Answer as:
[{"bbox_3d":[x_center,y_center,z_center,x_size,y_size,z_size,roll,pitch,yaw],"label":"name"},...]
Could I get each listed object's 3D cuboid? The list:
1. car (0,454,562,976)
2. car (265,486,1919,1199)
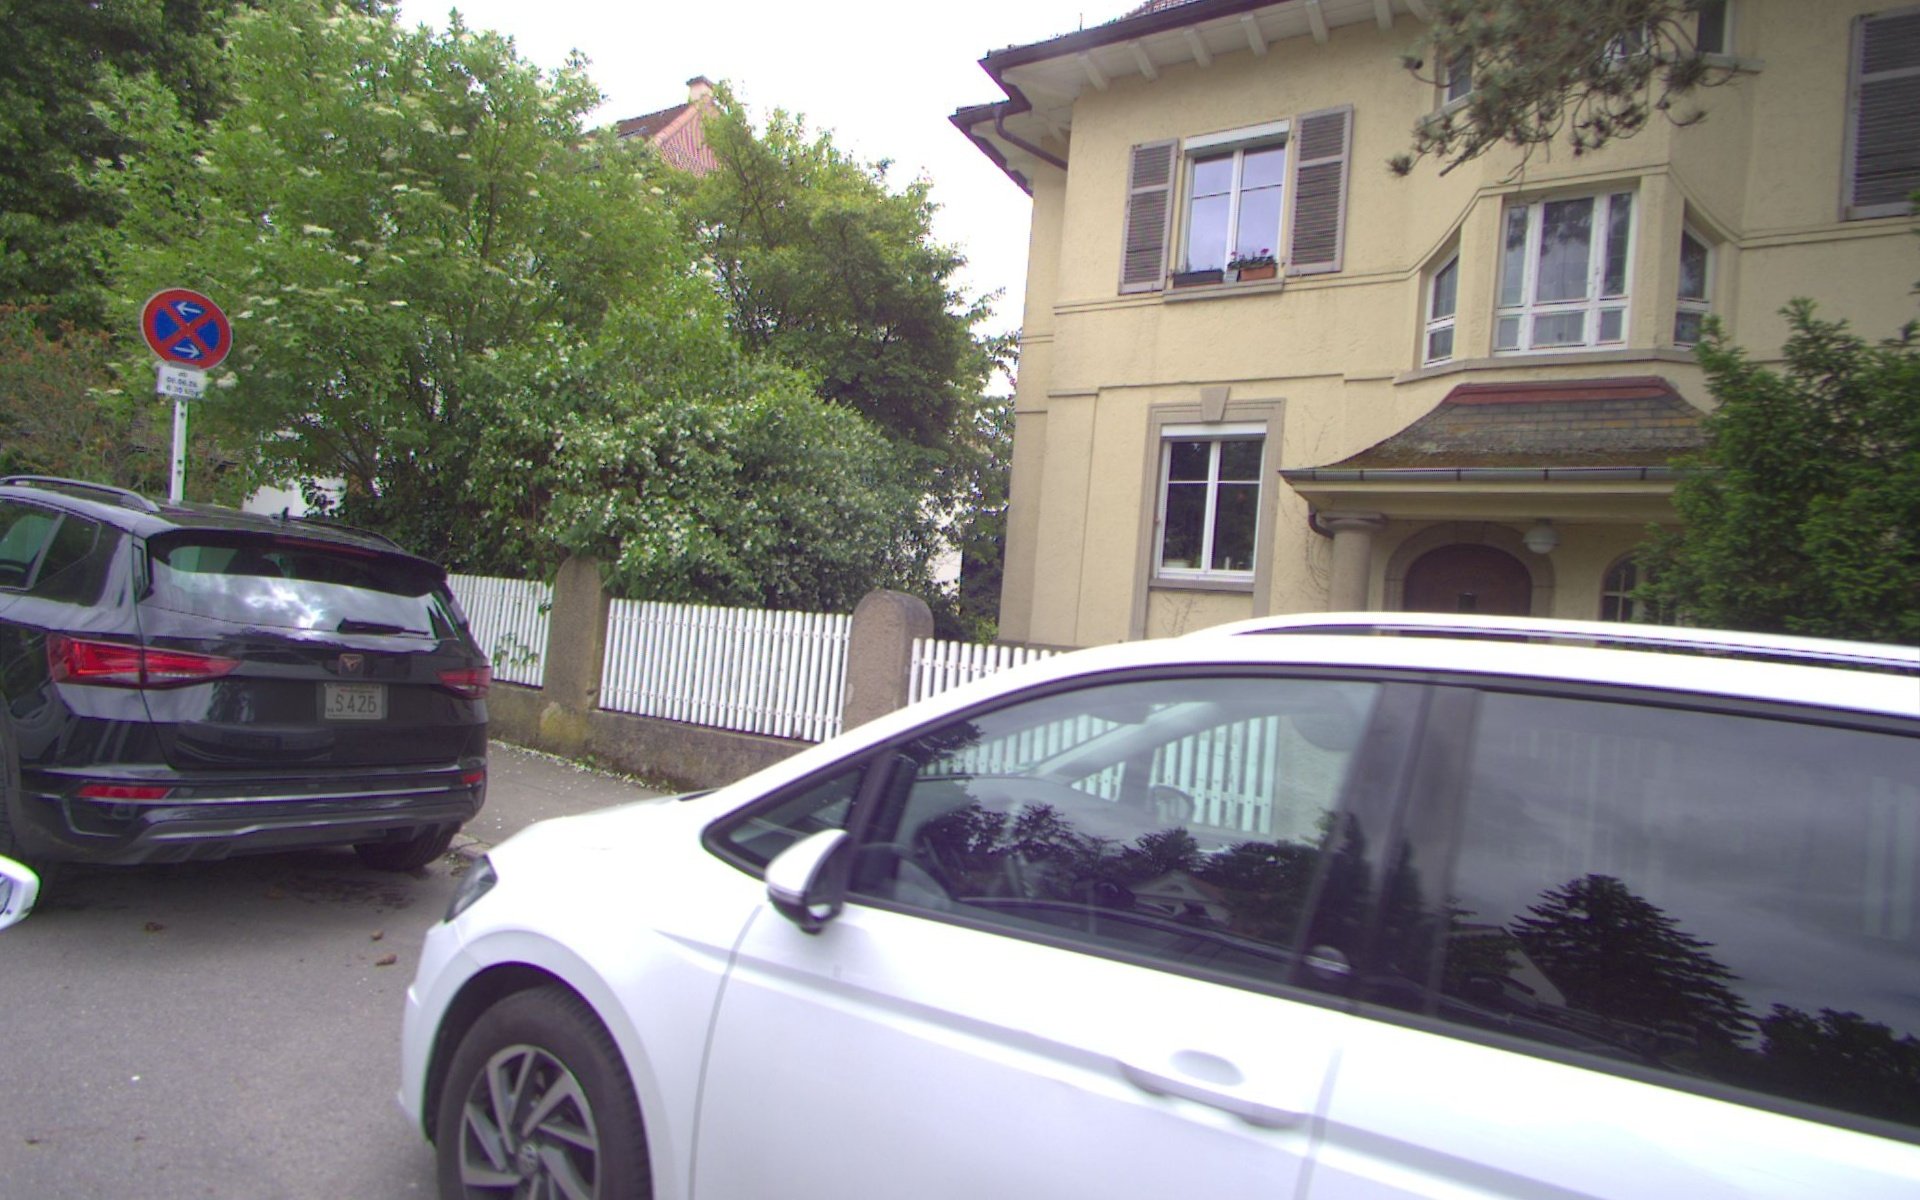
[{"bbox_3d":[-4.094,0.286,4.924,4.007,1.625,1.755,6,-3,31],"label":"car"},{"bbox_3d":[0.693,0.834,2.150,4.231,1.621,1.790,6,-3,30],"label":"car"}]
